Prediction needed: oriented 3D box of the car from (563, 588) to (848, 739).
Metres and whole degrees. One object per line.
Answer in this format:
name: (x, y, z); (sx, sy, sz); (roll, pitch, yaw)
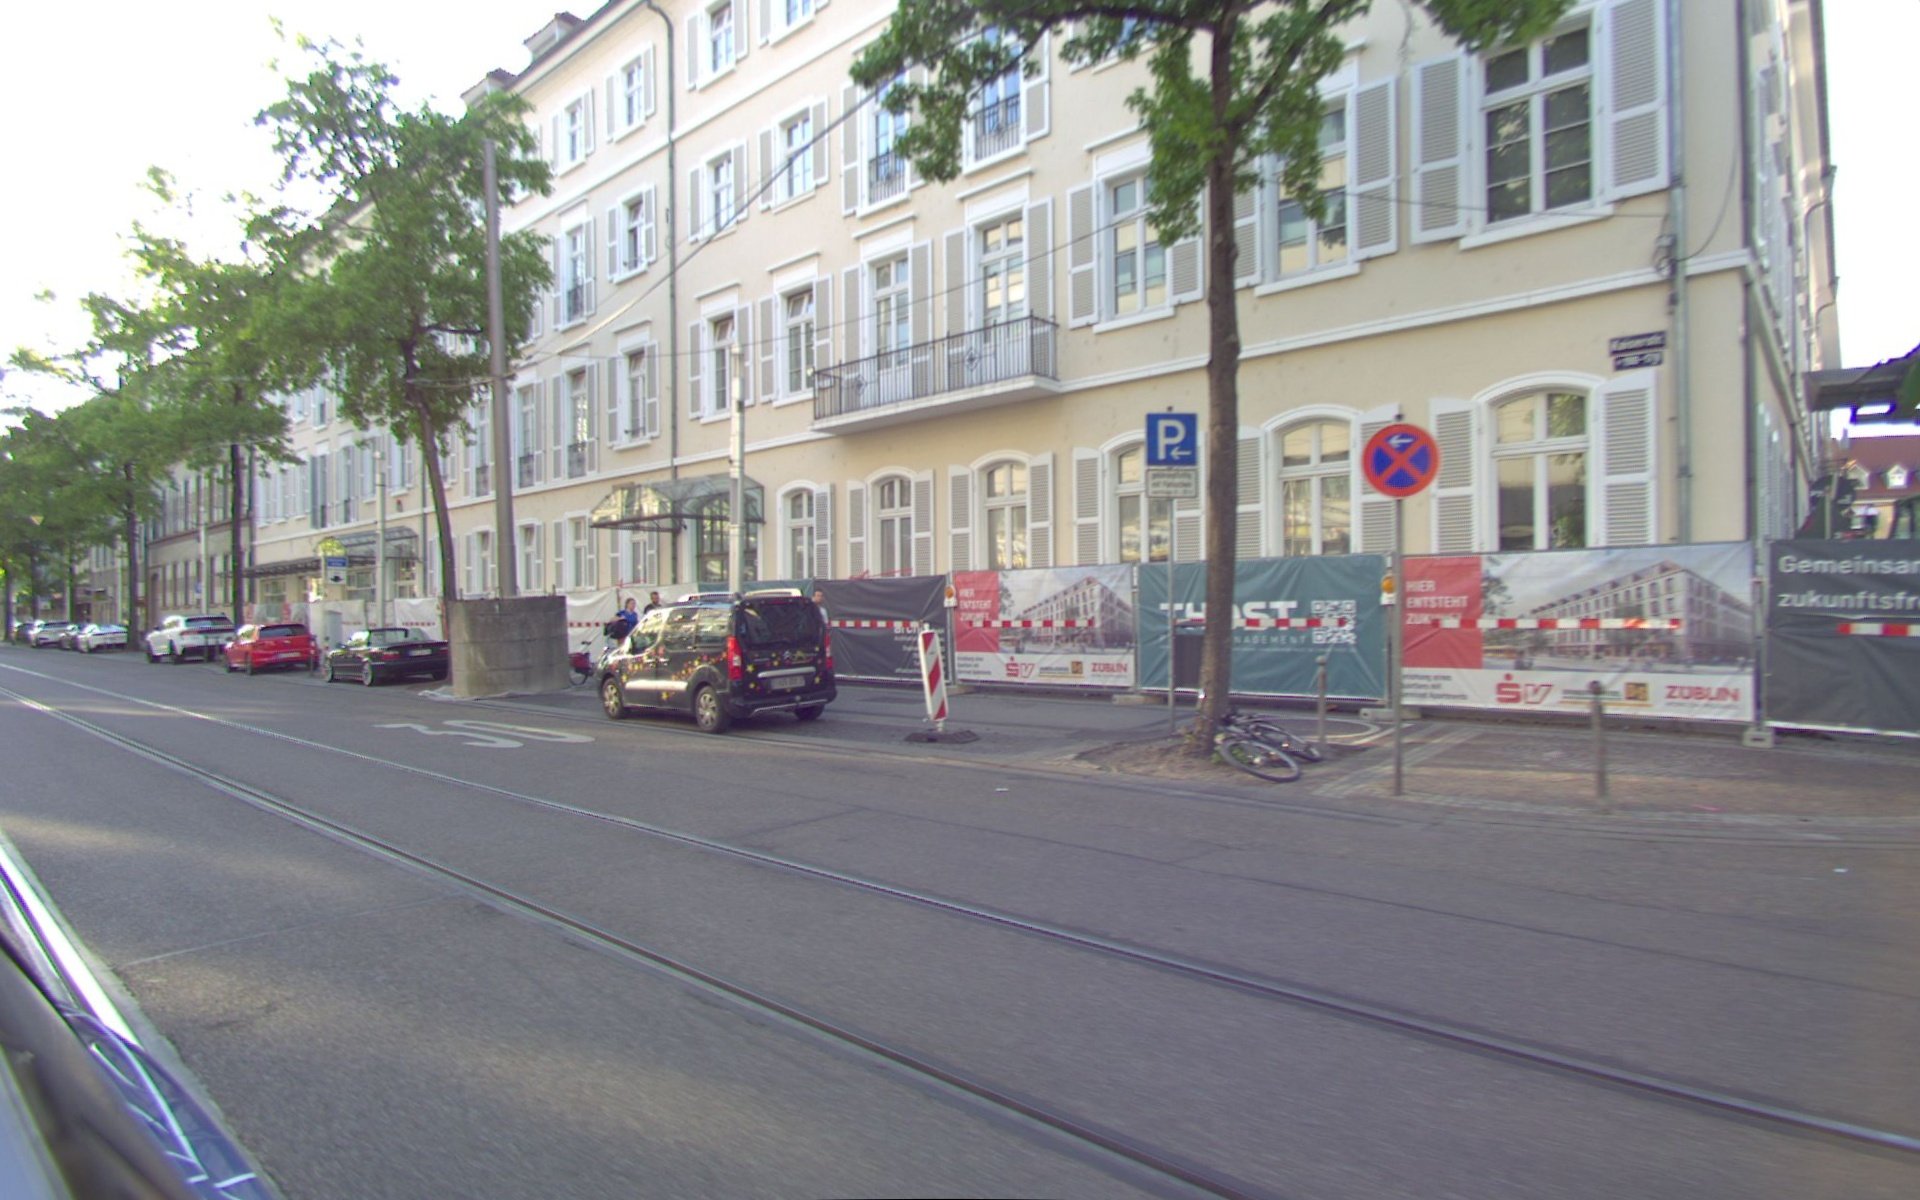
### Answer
car: (-3.825, 0.820, 14.724); (4.559, 1.846, 1.837); (-1, 0, 43)

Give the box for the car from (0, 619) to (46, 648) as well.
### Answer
car: (-66.447, 2.397, 71.745); (4.764, 1.972, 1.906); (-2, -2, 42)

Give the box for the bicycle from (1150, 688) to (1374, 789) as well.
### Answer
bicycle: (2.791, 1.221, 9.301); (1.283, 0.613, 1.775); (-2, 0, 45)

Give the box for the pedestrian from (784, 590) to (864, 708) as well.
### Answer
pedestrian: (-2.190, 0.762, 16.265); (0.984, 1.805, 0.766); (-2, 1, 43)

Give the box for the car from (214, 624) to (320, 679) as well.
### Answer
car: (-20.439, 1.461, 29.797); (4.140, 1.416, 1.642); (-1, 2, 43)

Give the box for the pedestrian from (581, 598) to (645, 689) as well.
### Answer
pedestrian: (-7.216, 0.881, 21.062); (0.884, 1.795, 0.856); (-2, 2, 41)

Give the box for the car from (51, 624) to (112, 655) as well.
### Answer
car: (-46.858, 2.121, 53.943); (4.338, 1.477, 1.724); (-2, 1, 39)

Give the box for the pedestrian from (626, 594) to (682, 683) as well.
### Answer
pedestrian: (-6.541, 0.812, 21.614); (0.876, 1.826, 0.712); (-2, 2, 41)

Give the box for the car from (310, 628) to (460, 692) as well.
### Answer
car: (-13.693, 1.351, 23.985); (4.506, 1.254, 1.700); (-1, 2, 42)

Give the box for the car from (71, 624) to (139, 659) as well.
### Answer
car: (-41.074, 1.991, 48.601); (4.616, 1.477, 1.872); (-2, 2, 42)

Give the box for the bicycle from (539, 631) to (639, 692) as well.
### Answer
bicycle: (-7.571, 1.236, 20.620); (2.039, 1.130, 0.753); (-2, 2, 31)

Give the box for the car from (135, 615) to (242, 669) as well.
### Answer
car: (-27.677, 1.475, 36.250); (4.945, 1.701, 1.848); (-2, 2, 39)

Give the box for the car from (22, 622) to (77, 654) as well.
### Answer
car: (-55.512, 2.310, 61.658); (4.764, 1.754, 1.927); (-2, 1, 42)
